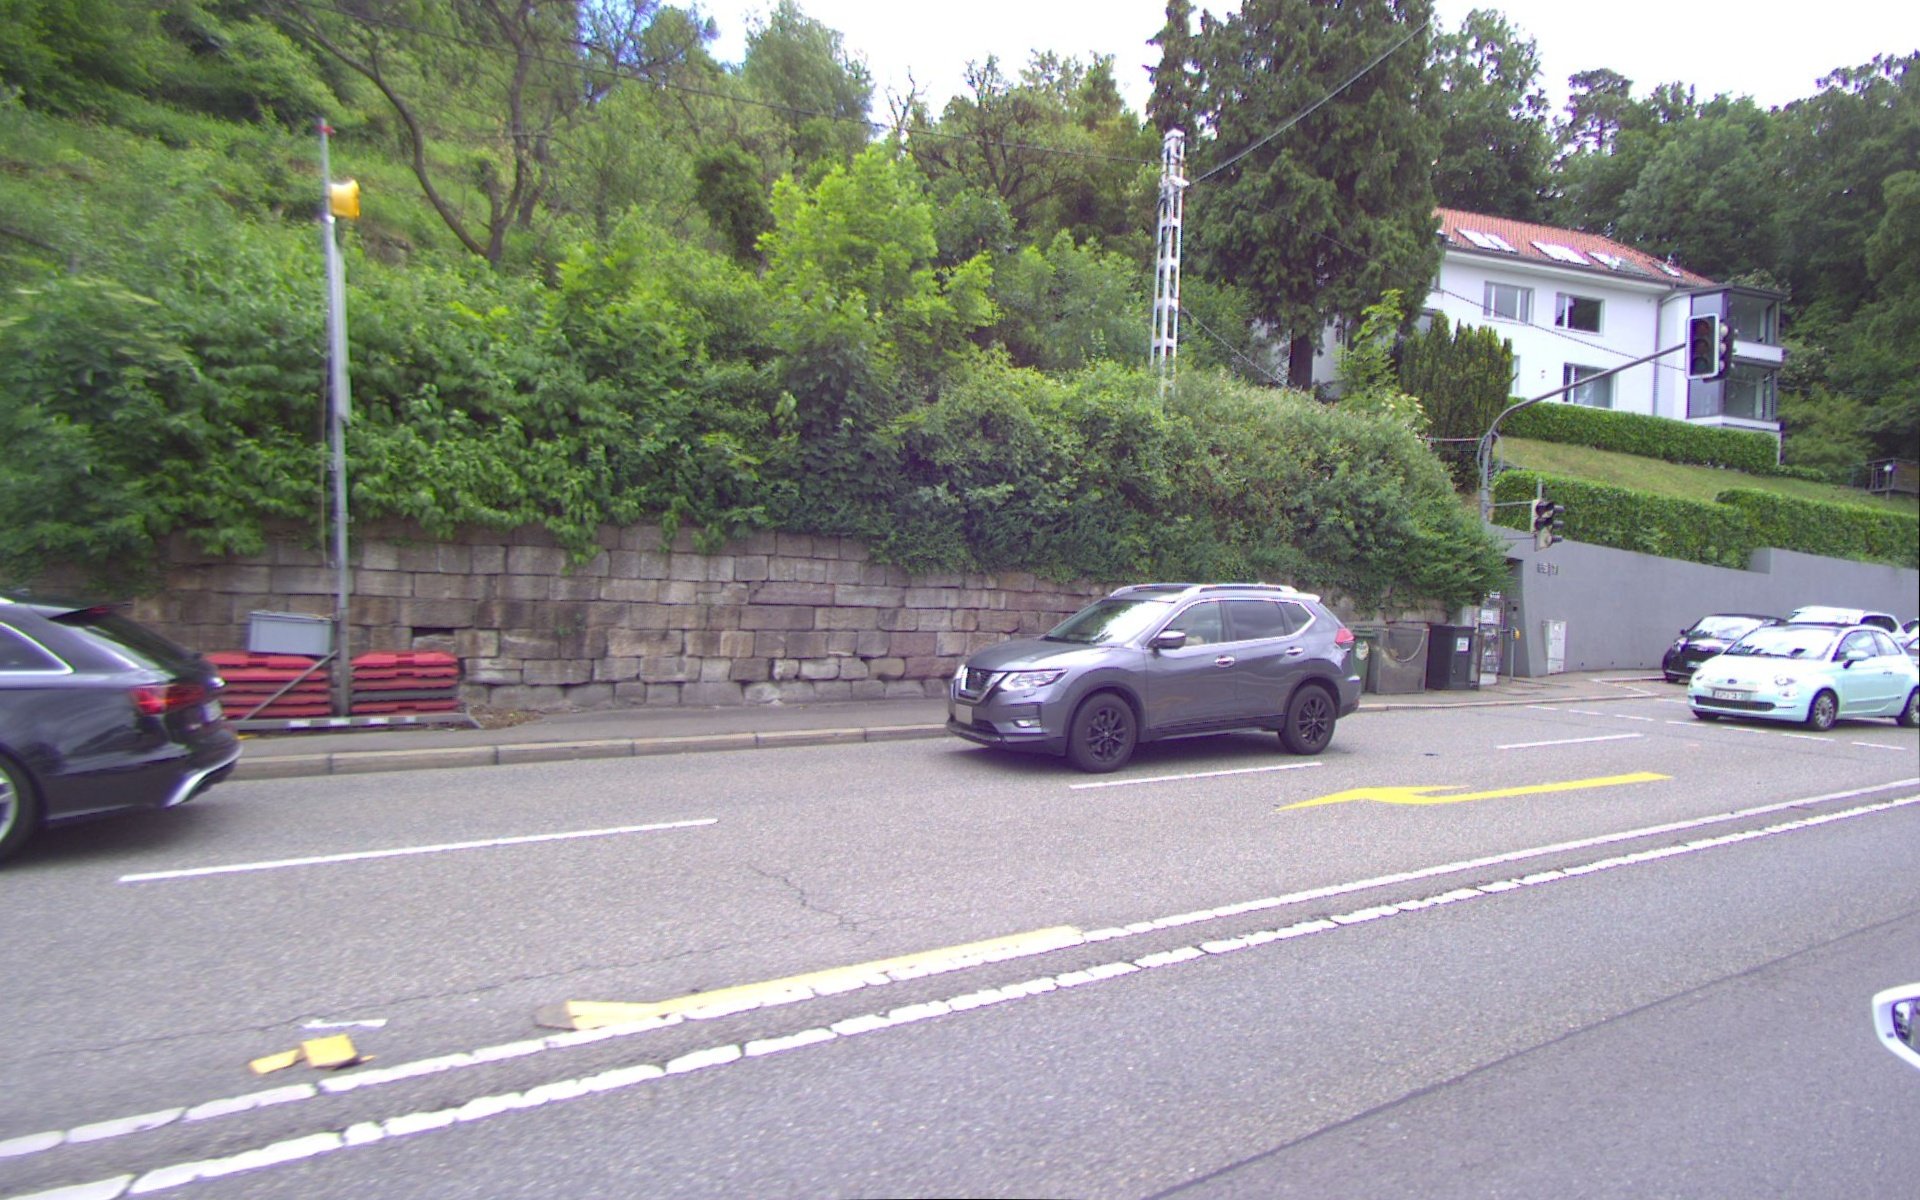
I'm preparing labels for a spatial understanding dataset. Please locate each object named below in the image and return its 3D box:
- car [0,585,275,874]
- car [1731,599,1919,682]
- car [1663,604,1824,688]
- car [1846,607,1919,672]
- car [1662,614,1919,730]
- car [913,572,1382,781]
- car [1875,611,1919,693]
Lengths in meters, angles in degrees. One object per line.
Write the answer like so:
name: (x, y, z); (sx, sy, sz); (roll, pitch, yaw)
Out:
car: (-6.512, 0.623, 5.131); (4.818, 1.449, 1.801); (1, 0, -31)
car: (20.900, 0.950, 24.214); (4.702, 1.754, 1.851); (1, 2, -28)
car: (17.001, 0.932, 21.792); (2.922, 1.594, 1.703); (0, 4, -30)
car: (26.002, 1.077, 26.705); (4.409, 1.593, 1.829); (2, 1, -21)
car: (12.416, 0.998, 14.793); (3.607, 1.486, 1.707); (1, 1, -22)
car: (1.999, 0.654, 10.256); (4.617, 1.720, 1.874); (1, 0, -31)
car: (20.987, 1.107, 20.873); (4.156, 1.619, 1.703); (2, 0, -30)
